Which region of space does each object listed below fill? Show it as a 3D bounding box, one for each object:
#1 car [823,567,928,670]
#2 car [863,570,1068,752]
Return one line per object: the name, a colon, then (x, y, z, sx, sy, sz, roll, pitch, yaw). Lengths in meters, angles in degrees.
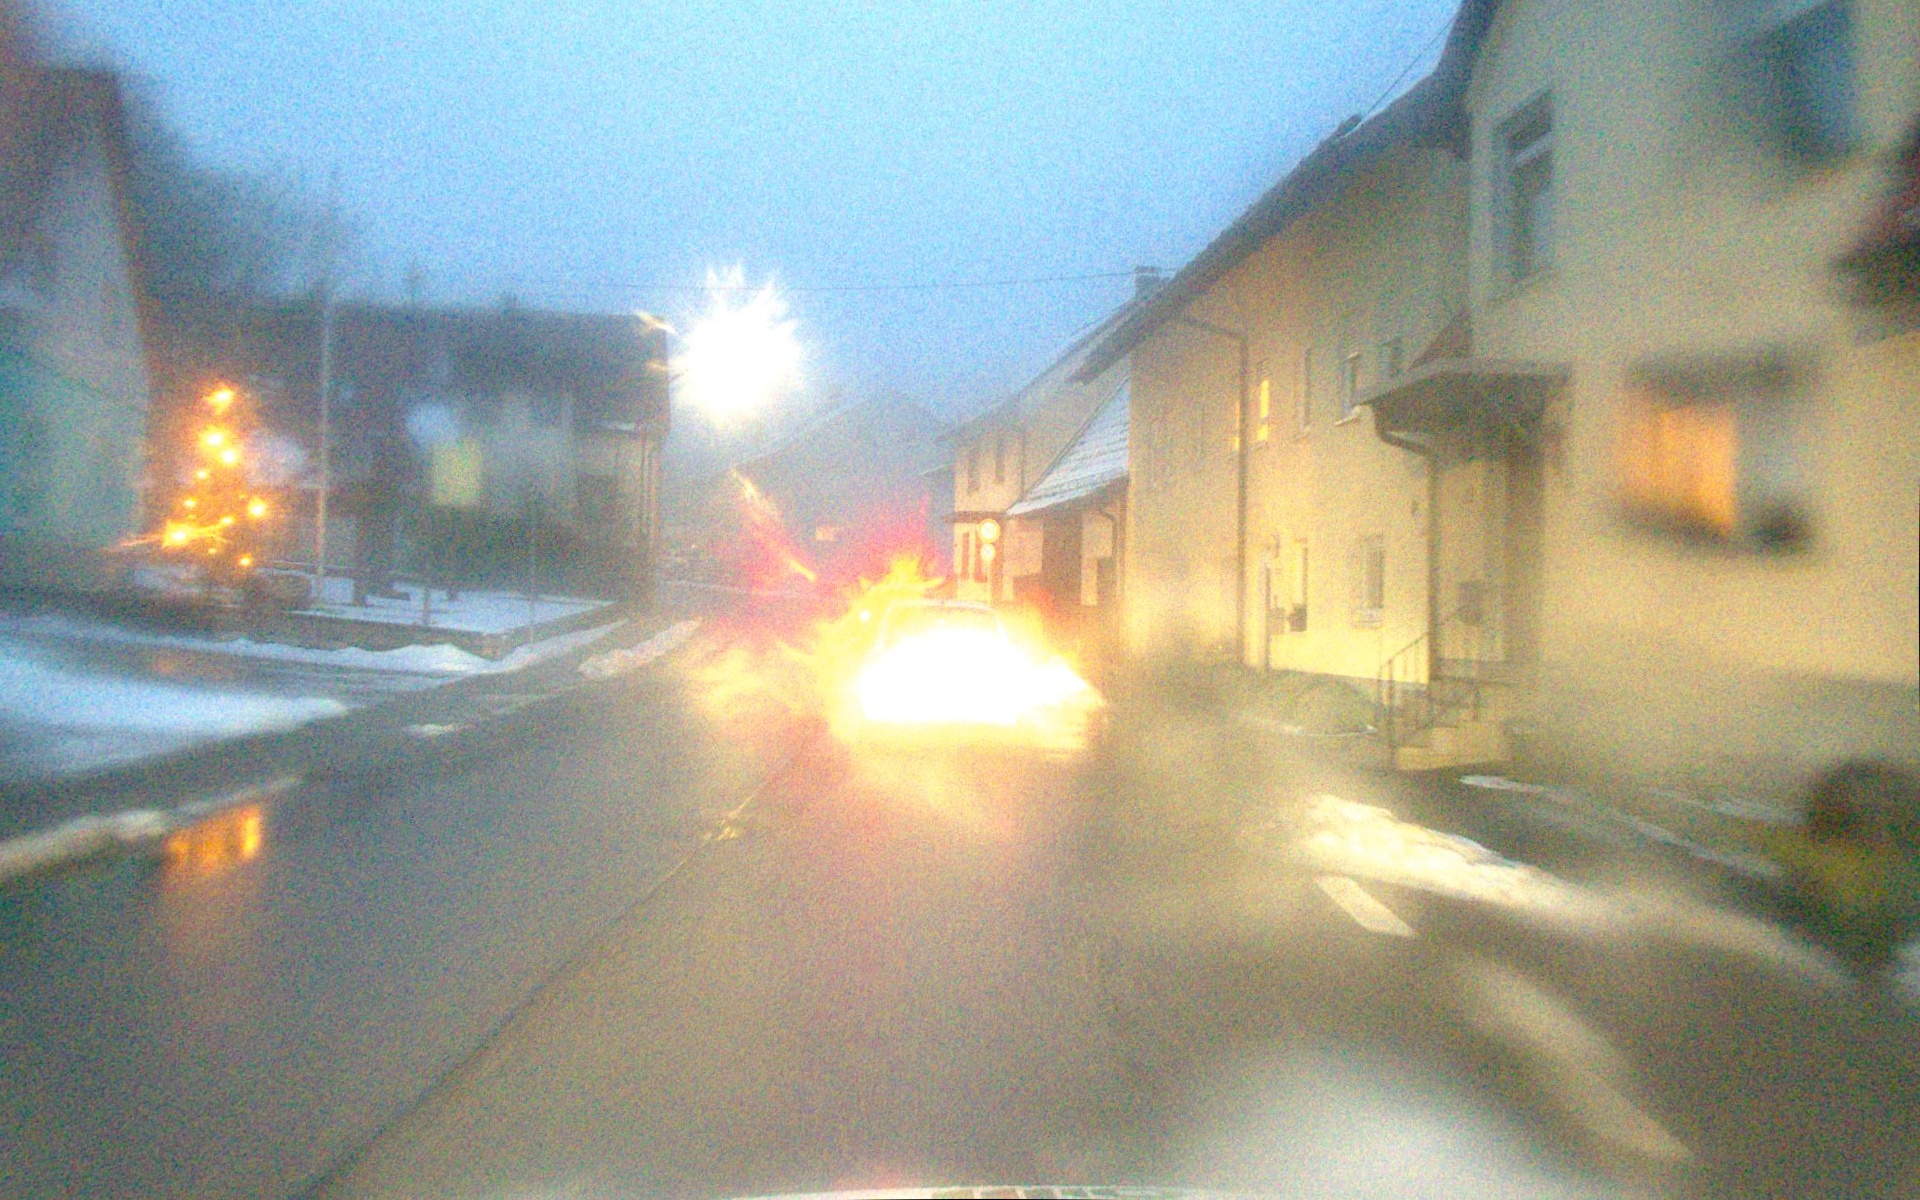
car: (-1.537, 0.327, 29.054, 1.613, 1.624, 3.695, 3, -1, -5)
car: (-0.052, 0.582, 17.159, 1.614, 1.624, 3.693, 3, -1, -7)
